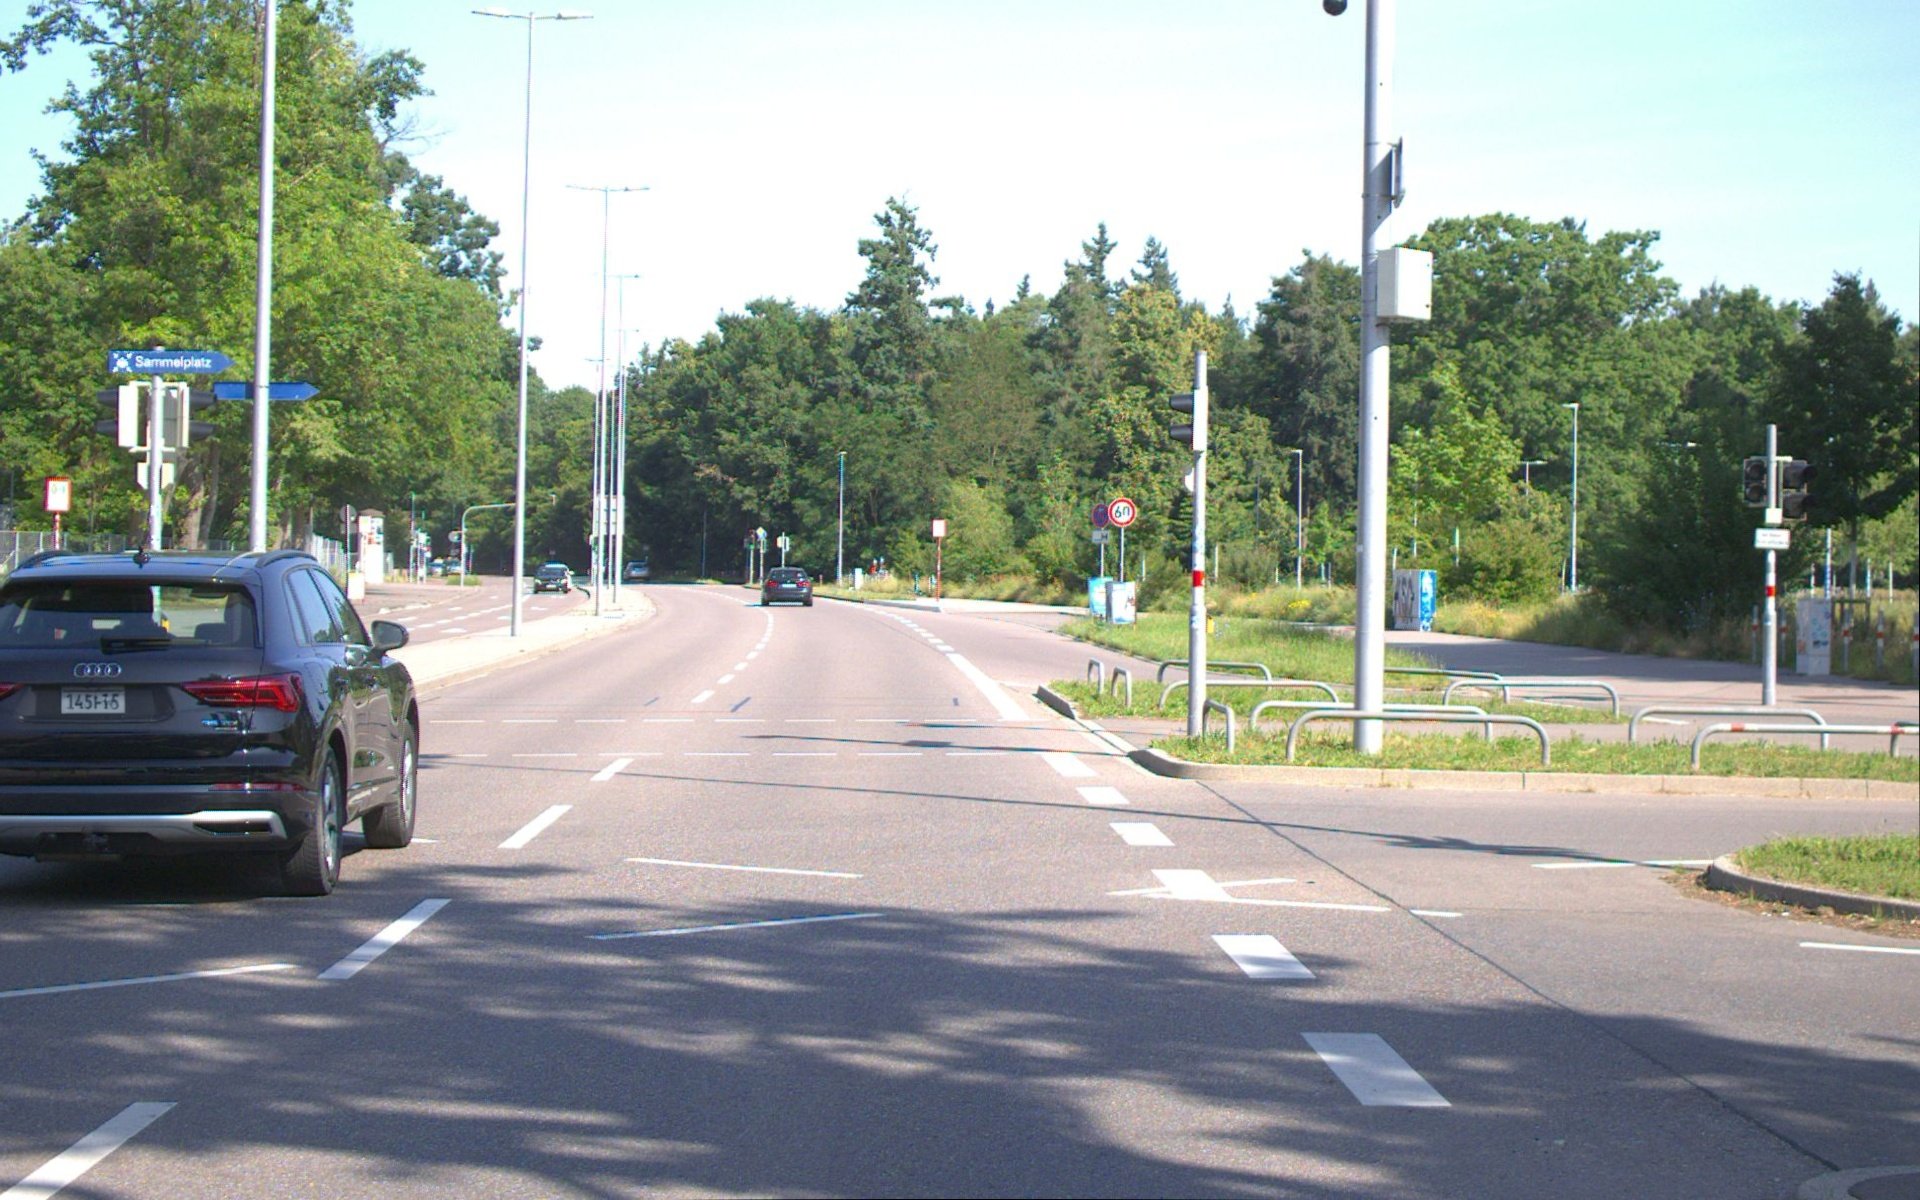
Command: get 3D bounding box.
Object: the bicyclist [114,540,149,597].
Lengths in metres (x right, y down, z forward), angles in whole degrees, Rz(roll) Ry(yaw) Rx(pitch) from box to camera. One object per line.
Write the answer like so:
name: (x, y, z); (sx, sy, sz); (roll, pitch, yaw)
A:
bicyclist: (-21.678, -0.825, 89.982); (0.659, 1.462, 1.057); (2, 1, -3)

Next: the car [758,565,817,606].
car: (-6.346, -0.544, 126.131); (1.940, 1.415, 4.294); (1, 1, -6)

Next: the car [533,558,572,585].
car: (-21.376, -1.494, 180.120); (1.810, 1.383, 4.163); (-1, 1, -10)

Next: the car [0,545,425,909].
car: (-3.700, 0.510, 16.615); (1.687, 1.539, 4.149); (0, 1, -2)

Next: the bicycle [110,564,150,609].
bicycle: (-21.711, -0.371, 89.958); (0.659, 1.132, 1.879); (2, 1, -3)
